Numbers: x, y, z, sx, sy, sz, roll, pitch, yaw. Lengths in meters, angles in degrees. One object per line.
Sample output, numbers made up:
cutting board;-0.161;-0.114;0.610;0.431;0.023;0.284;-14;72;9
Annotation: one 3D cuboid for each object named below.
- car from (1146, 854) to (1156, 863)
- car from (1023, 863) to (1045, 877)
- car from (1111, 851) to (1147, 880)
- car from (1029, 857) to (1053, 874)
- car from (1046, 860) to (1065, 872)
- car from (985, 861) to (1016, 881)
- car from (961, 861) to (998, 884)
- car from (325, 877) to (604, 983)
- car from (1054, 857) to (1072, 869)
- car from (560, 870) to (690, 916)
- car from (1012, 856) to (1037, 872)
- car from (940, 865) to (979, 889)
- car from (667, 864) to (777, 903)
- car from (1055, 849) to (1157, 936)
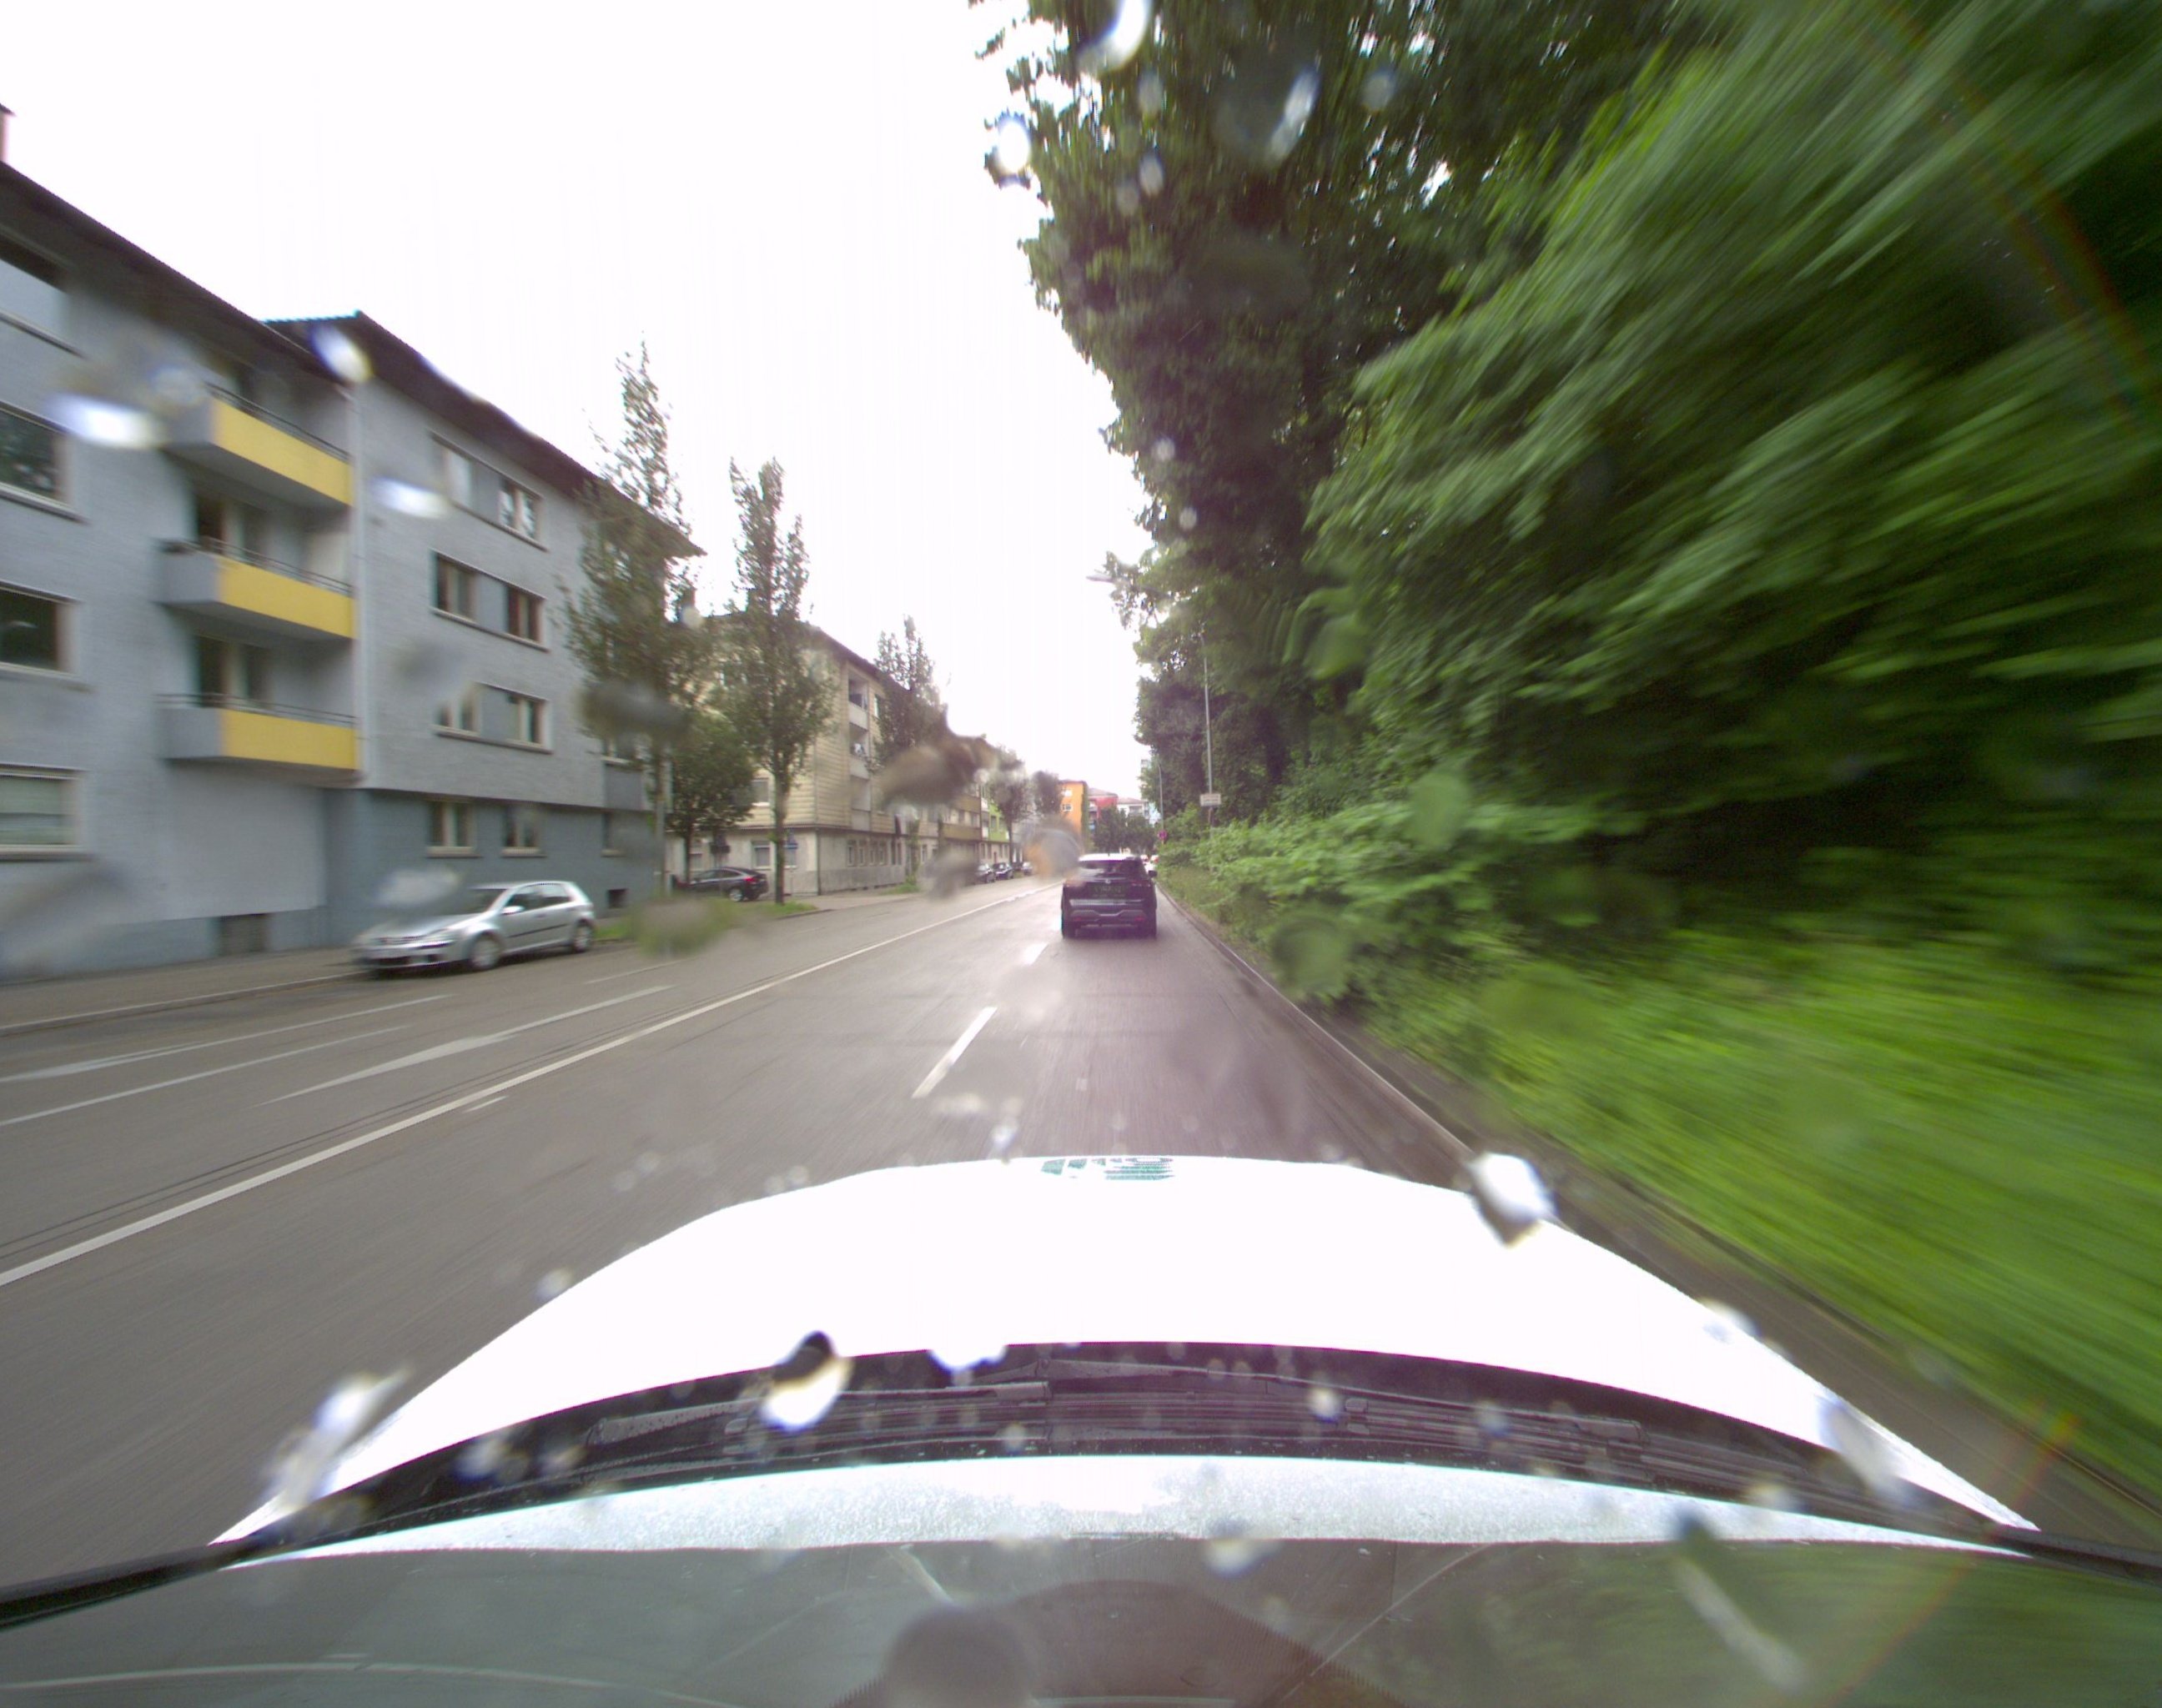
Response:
car;12.470;0.859;145.584;1.698;1.478;3.686;-3;0;6
car;-5.012;1.678;87.082;1.671;1.376;4.007;-4;0;6
car;3.058;0.685;50.899;1.876;1.711;4.009;-1;0;8
car;-4.488;1.289;92.857;1.880;1.766;4.610;-3;0;7
car;-3.234;1.490;105.585;1.679;1.358;4.588;-5;0;7
car;-6.862;1.466;69.827;1.710;1.488;4.521;-4;0;5
car;-7.496;1.336;60.472;1.809;1.488;4.794;-4;0;4
car;-10.695;1.220;14.596;1.718;1.453;4.205;-3;0;0
car;-2.418;1.252;110.977;1.671;1.449;4.285;-5;0;8
car;-17.369;1.479;31.098;4.022;1.494;1.692;-2;-2;-43
car;-5.622;0.982;81.317;1.809;1.372;4.685;-4;0;4
car;-8.052;1.526;54.364;1.618;1.387;3.994;-3;0;5
car;-16.569;1.336;37.723;4.131;1.579;1.929;-2;0;4
car;0.530;0.699;16.912;1.838;1.582;4.002;-1;0;2
